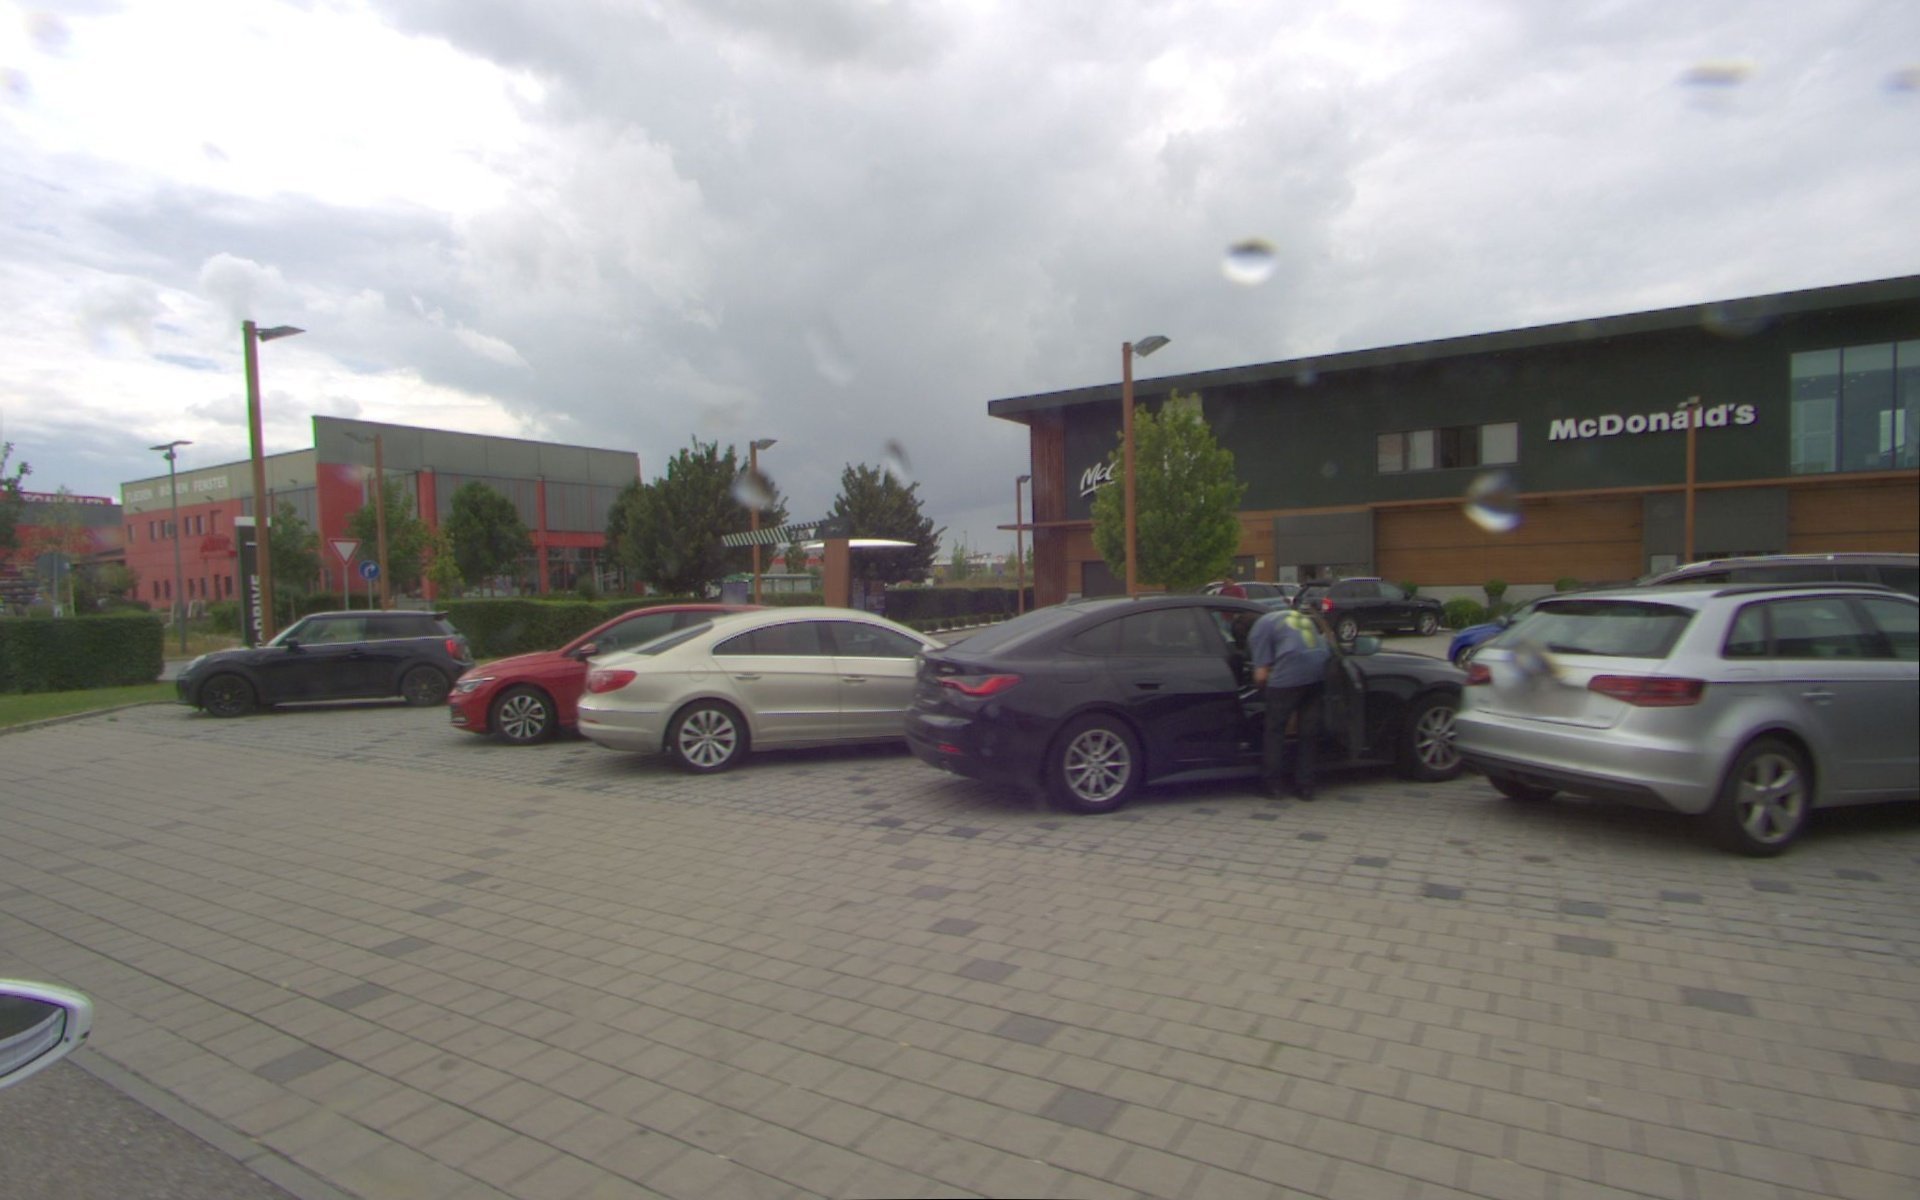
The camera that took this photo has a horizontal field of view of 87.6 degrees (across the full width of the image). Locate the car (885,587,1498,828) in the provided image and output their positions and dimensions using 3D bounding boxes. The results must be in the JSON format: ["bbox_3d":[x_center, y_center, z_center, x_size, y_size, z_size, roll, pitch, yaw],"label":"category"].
[{"bbox_3d":[1.723,0.669,7.694,4.328,1.483,1.684,-1,1,-16],"label":"car"}]

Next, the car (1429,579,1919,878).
[{"bbox_3d":[5.188,0.620,6.290,3.928,1.471,1.684,-1,0,-16],"label":"car"}]

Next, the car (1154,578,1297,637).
[{"bbox_3d":[7.886,0.185,29.794,3.840,1.606,1.744,-1,3,-23],"label":"car"}]

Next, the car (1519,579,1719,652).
[{"bbox_3d":[16.032,0.330,24.419,4.017,1.595,1.835,-2,2,-13],"label":"car"}]

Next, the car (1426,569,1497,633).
[{"bbox_3d":[15.131,-0.044,30.104,1.726,1.778,3.980,1,3,29],"label":"car"}]

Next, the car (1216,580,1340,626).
[{"bbox_3d":[11.436,0.076,36.056,3.940,1.527,1.779,1,3,31],"label":"car"}]

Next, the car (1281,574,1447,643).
[{"bbox_3d":[11.174,0.187,27.780,3.931,1.774,1.994,-1,3,-19],"label":"car"}]

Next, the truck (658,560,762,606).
[{"bbox_3d":[-26.579,-1.874,106.101,11.828,4.561,3.744,1,3,34],"label":"truck"}]

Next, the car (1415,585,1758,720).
[{"bbox_3d":[8.527,0.599,14.112,1.737,1.531,3.992,-1,2,-14],"label":"car"}]

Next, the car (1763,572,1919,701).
[{"bbox_3d":[12.027,0.434,11.475,1.749,1.486,4.102,1,0,-18],"label":"car"}]

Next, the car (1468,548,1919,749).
[{"bbox_3d":[7.375,0.364,9.933,4.124,1.713,1.803,1,3,27],"label":"car"}]

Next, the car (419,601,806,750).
[{"bbox_3d":[-3.858,0.775,11.605,3.928,1.484,1.684,-1,1,-16],"label":"car"}]

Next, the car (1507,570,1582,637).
[{"bbox_3d":[16.892,0.029,29.052,1.726,1.778,3.980,1,3,29],"label":"car"}]

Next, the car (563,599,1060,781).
[{"bbox_3d":[-1.402,0.736,9.673,4.381,1.431,1.750,-1,0,-18],"label":"car"}]

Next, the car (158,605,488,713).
[{"bbox_3d":[-9.383,0.820,15.118,3.861,1.431,1.684,-1,0,-18],"label":"car"}]

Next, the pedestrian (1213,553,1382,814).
[{"bbox_3d":[2.341,0.541,6.998,0.828,1.700,0.747,-1,1,-18],"label":"pedestrian"}]
